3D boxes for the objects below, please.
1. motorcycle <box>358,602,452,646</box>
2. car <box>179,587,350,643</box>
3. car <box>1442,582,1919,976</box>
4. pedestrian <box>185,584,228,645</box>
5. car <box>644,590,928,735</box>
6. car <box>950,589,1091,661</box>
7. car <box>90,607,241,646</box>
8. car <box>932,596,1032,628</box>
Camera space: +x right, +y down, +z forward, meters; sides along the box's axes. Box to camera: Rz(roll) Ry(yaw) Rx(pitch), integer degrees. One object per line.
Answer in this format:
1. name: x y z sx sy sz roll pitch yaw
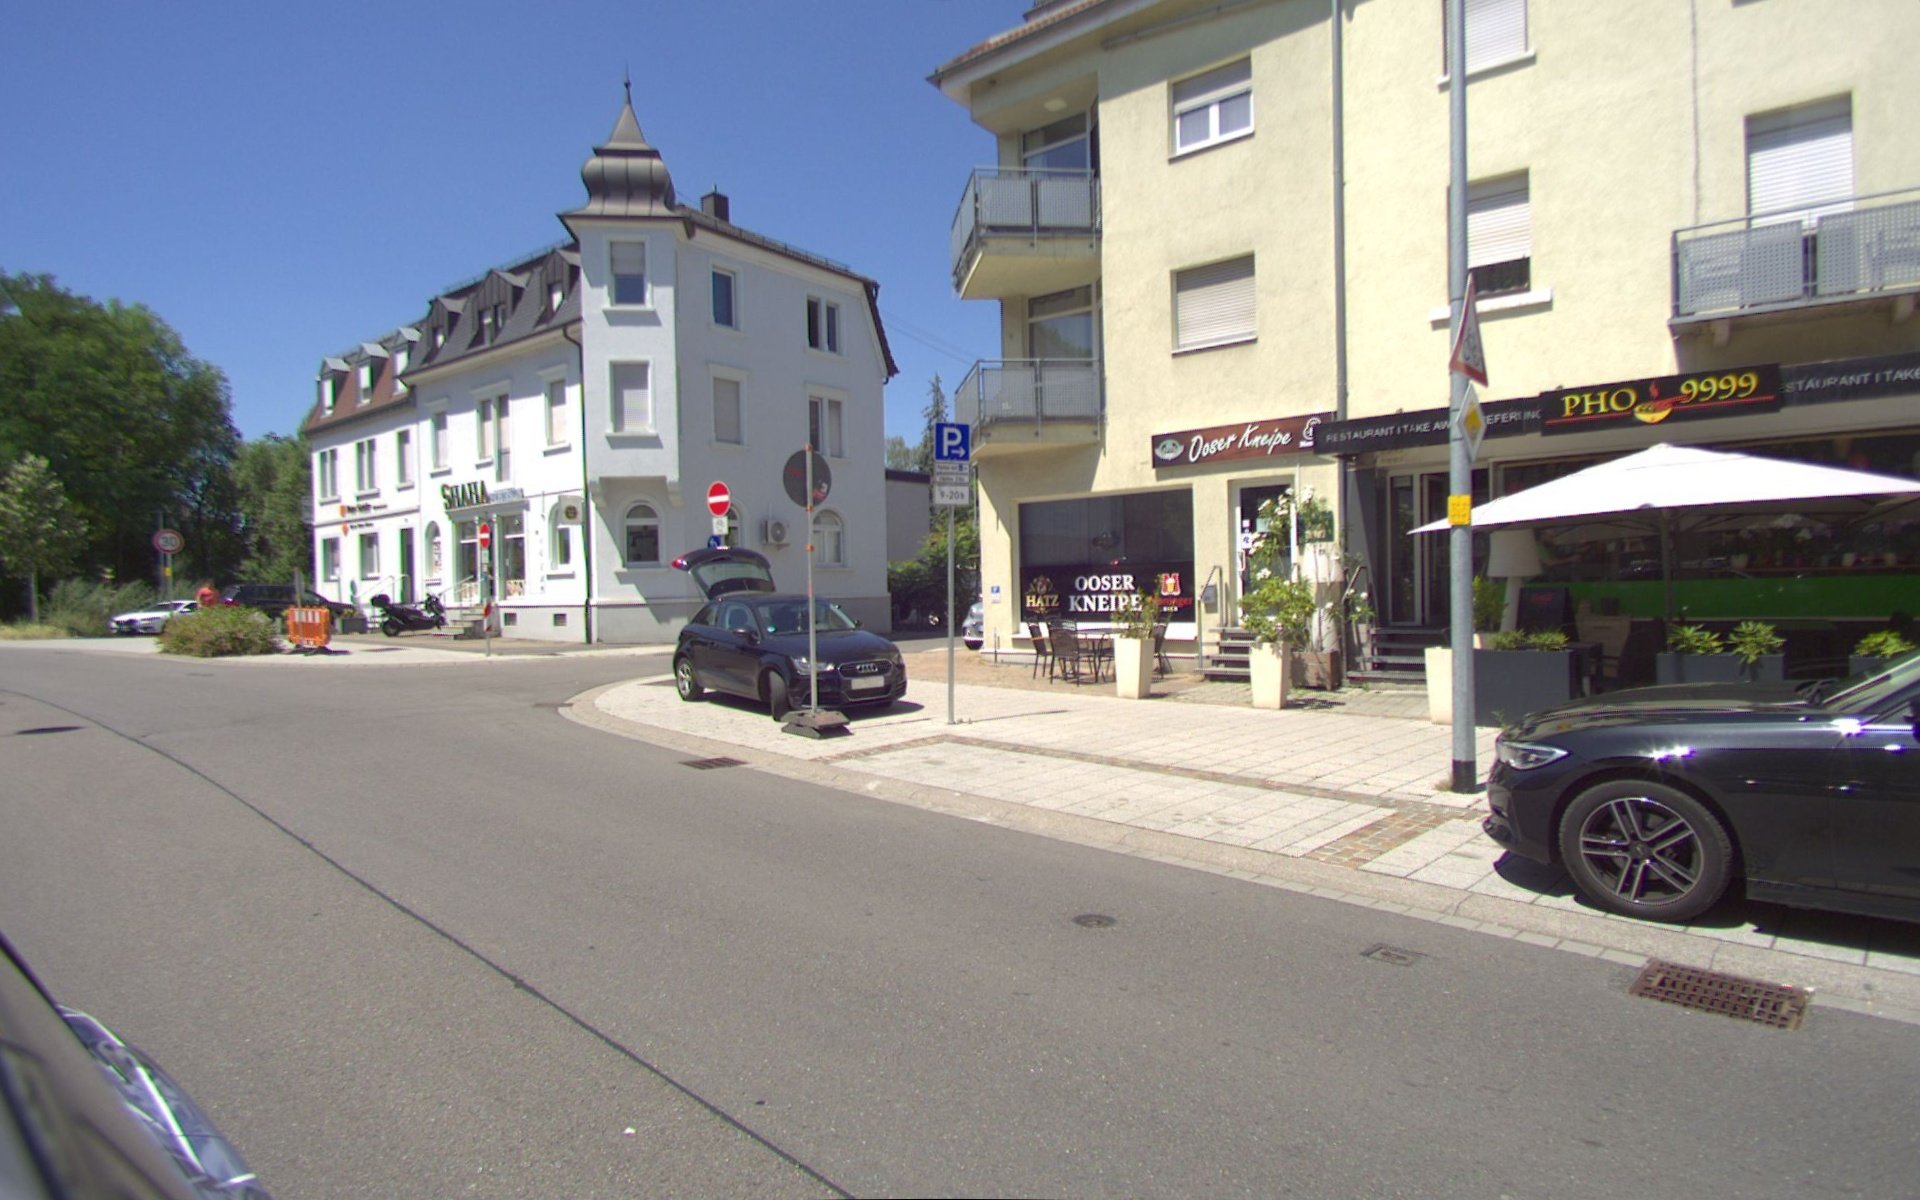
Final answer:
1. motorcycle: -16.895 0.704 30.854 0.832 1.226 2.372 0 1 37
2. car: -22.377 0.449 32.709 1.966 1.675 4.144 -1 0 35
3. car: 4.729 0.652 3.978 4.782 1.440 1.814 -1 1 43
4. pedestrian: -22.443 0.417 30.133 0.732 1.767 0.733 -1 1 23
5. car: -2.370 0.652 12.956 1.691 1.471 4.137 -4 3 -40
6. car: 1.410 0.515 22.615 1.688 1.469 3.234 -2 0 35
7. car: -30.404 0.974 38.940 1.974 1.366 4.704 -1 0 3
8. car: 0.890 0.502 42.822 3.998 1.302 1.827 -1 0 41
